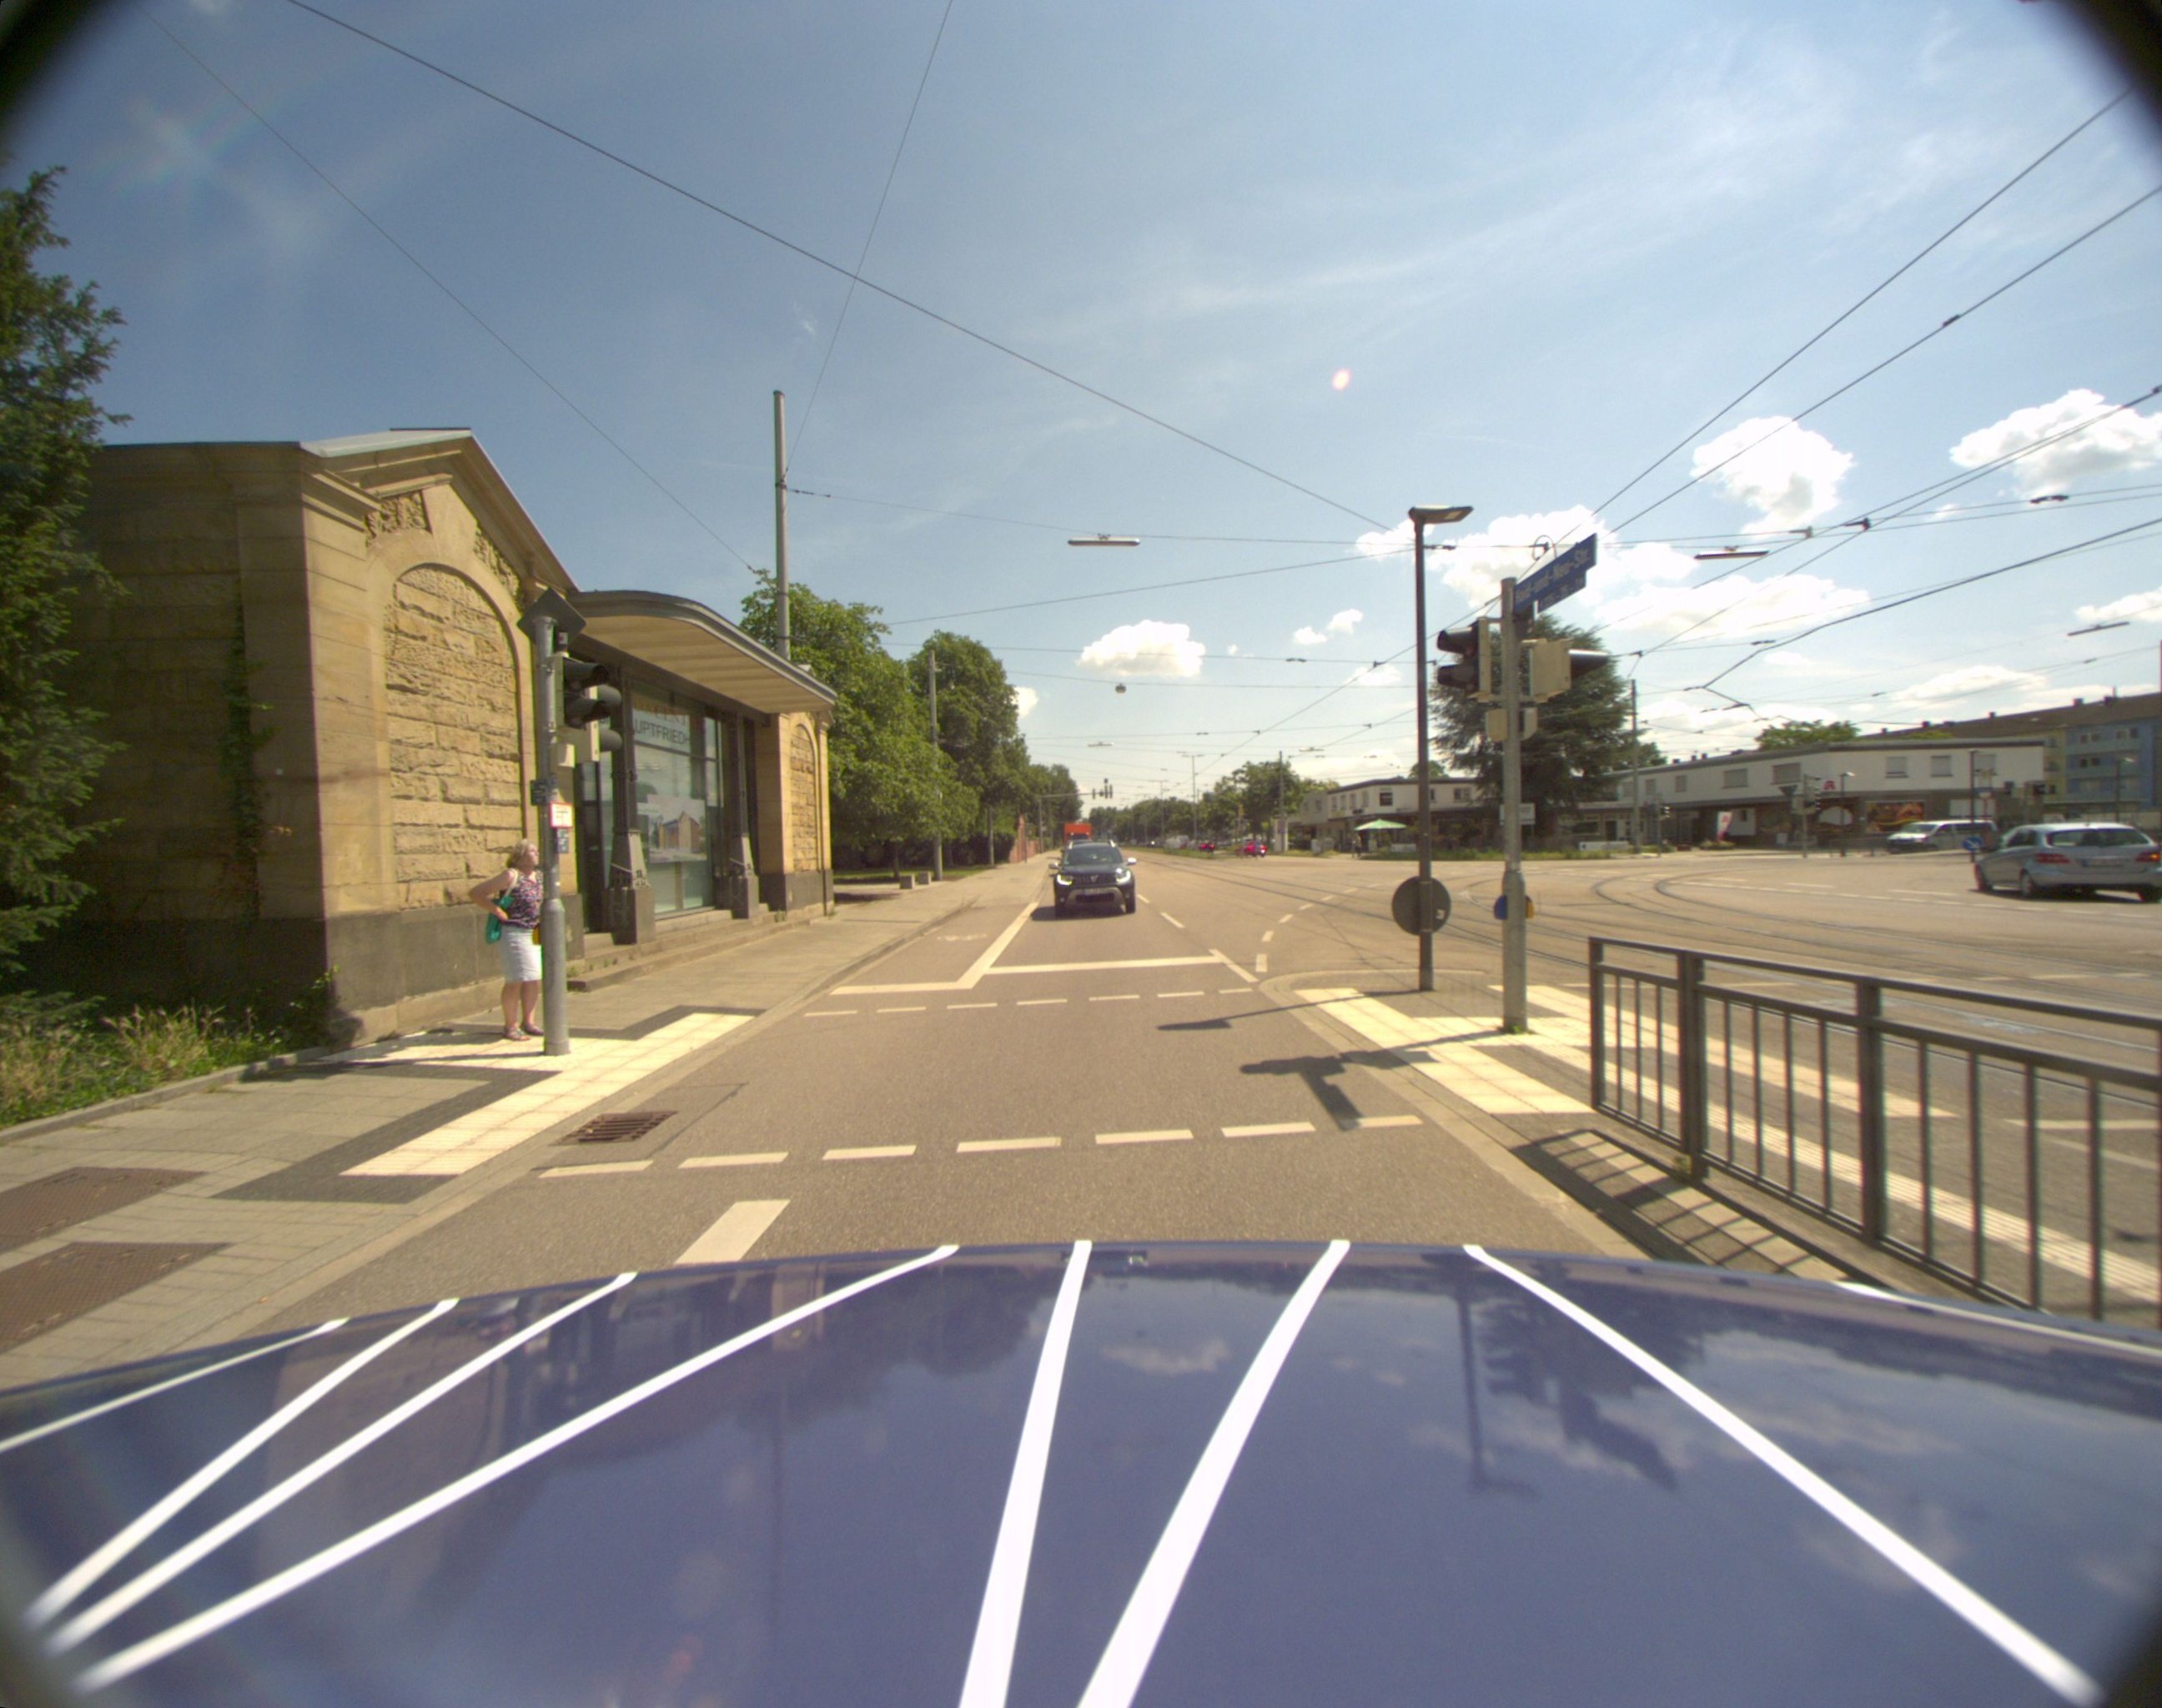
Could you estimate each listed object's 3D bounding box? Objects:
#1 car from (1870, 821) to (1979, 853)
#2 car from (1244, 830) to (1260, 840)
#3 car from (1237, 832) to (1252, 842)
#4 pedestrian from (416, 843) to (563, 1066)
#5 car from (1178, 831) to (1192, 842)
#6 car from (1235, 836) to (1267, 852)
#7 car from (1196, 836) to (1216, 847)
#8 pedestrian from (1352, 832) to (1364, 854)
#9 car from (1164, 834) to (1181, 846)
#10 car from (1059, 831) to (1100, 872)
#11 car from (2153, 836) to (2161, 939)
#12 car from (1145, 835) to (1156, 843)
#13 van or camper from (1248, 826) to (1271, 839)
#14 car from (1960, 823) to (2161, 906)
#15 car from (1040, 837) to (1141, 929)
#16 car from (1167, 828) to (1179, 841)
[{"bbox_3d":[47.868,-0.975,43.193,3.997,1.718,1.999,-1,2,-1],"label":"car"},{"bbox_3d":[28.614,-3.202,127.028,1.745,1.684,3.998,-1,1,-1],"label":"car"},{"bbox_3d":[28.425,-2.994,132.363,1.745,1.684,3.998,-1,1,-1],"label":"car"},{"bbox_3d":[-4.701,0.750,6.069,0.563,1.657,0.682,0,2,23],"label":"pedestrian"},{"bbox_3d":[19.461,-3.222,141.964,1.967,1.954,3.998,-1,1,-1],"label":"car"},{"bbox_3d":[15.919,-0.937,71.471,1.998,1.442,4.820,-1,1,1],"label":"car"},{"bbox_3d":[15.647,-1.583,95.431,1.784,1.346,3.998,-1,1,-1],"label":"car"},{"bbox_3d":[22.833,-0.927,62.719,0.488,1.766,0.682,-7,4,-19],"label":"pedestrian"},{"bbox_3d":[14.550,-2.182,121.235,1.863,1.865,4.552,-1,1,-4],"label":"car"},{"bbox_3d":[-0.070,-0.182,39.954,1.999,2.002,3.998,-1,2,0],"label":"car"},{"bbox_3d":[15.897,0.488,8.741,1.659,1.436,3.852,-1,1,0],"label":"car"},{"bbox_3d":[14.595,-3.104,159.050,1.745,1.587,3.998,-1,1,-1],"label":"car"},{"bbox_3d":[43.305,-5.246,184.261,5.158,3.100,2.246,-1,2,-1],"label":"van or camper"},{"bbox_3d":[21.820,0.134,17.046,1.736,1.606,4.614,0,2,36],"label":"car"},{"bbox_3d":[0.278,0.520,17.108,1.845,1.565,4.486,-5,2,3],"label":"car"},{"bbox_3d":[18.981,-4.045,156.587,1.745,2.574,3.998,-1,1,-1],"label":"car"}]
